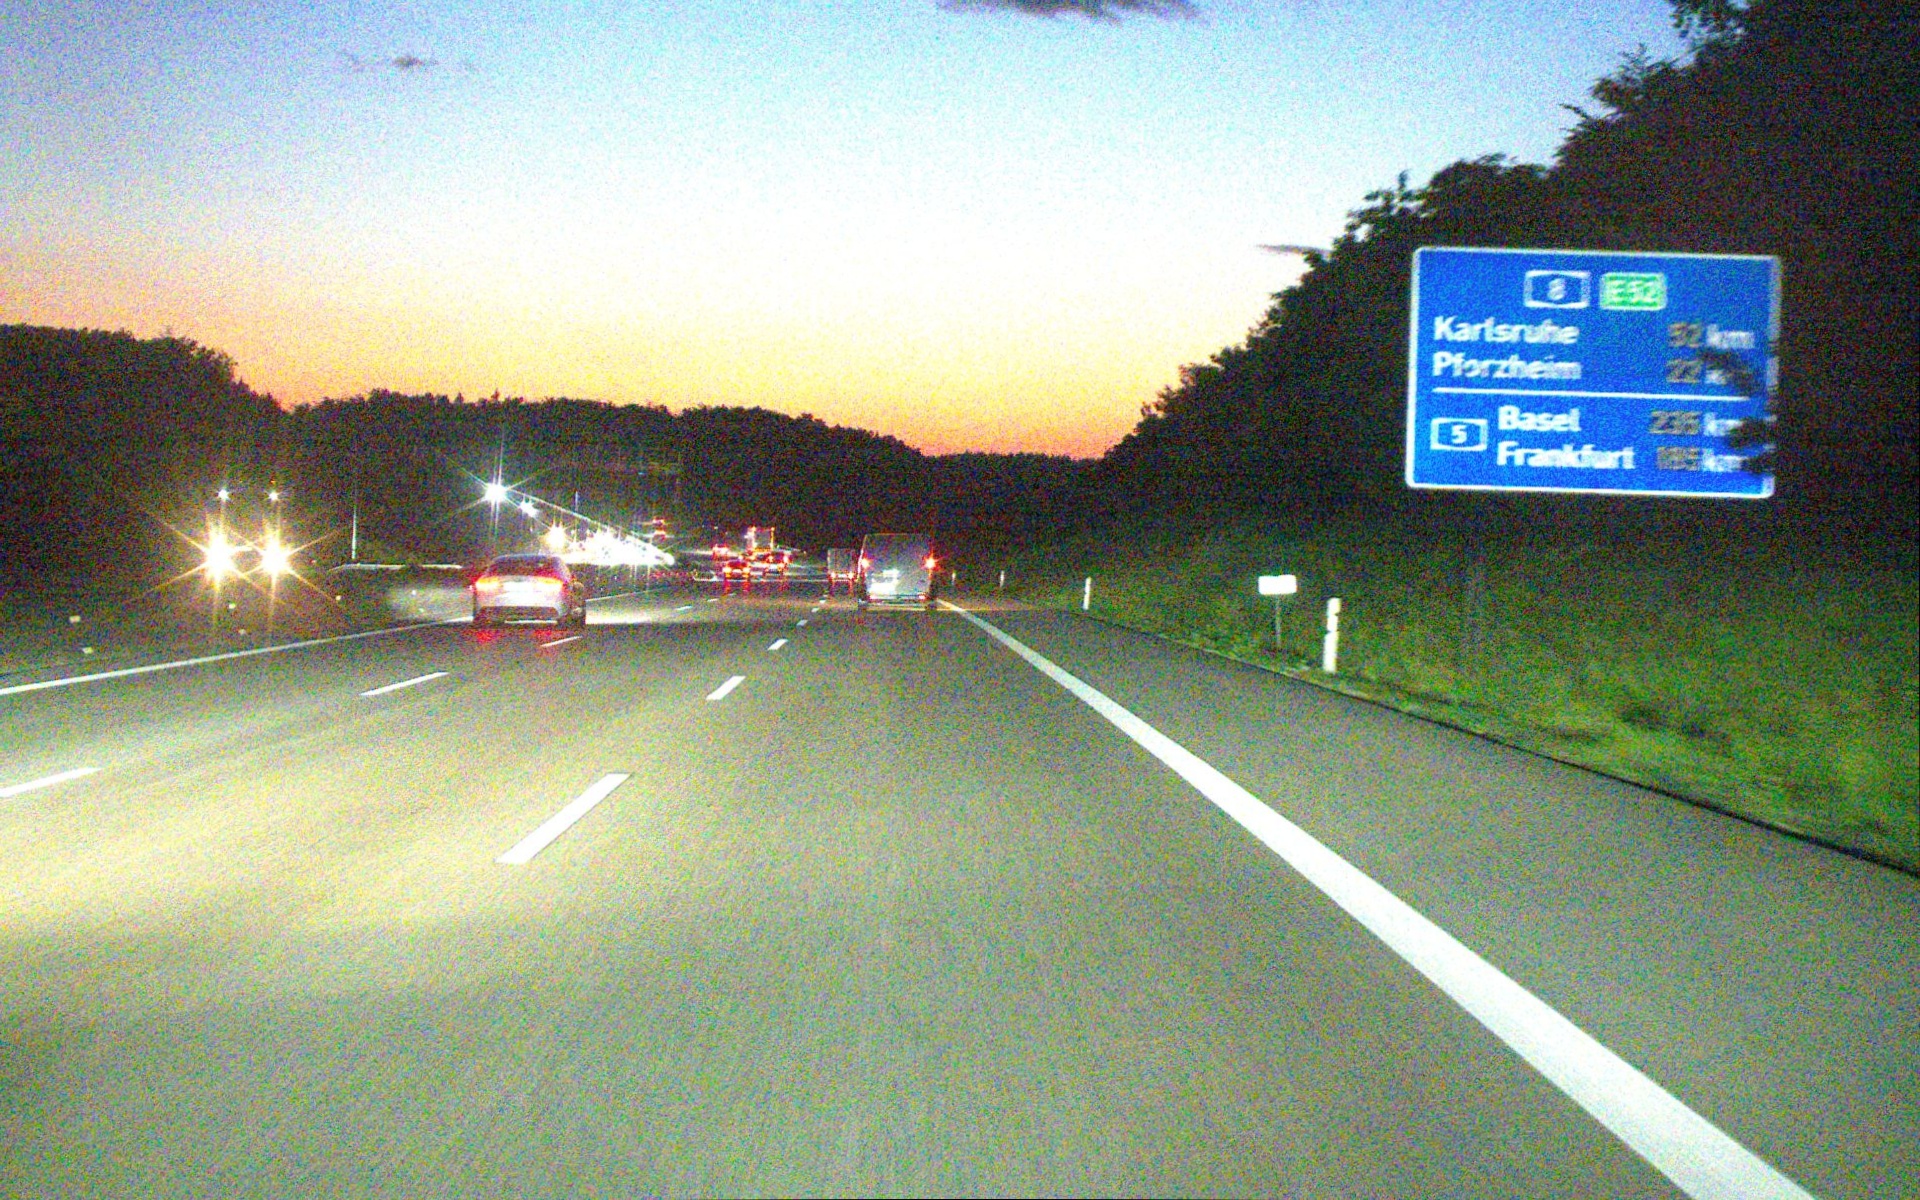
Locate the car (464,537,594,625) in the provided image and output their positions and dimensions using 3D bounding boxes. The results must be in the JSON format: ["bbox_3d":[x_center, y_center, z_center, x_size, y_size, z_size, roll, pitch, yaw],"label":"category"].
[{"bbox_3d":[-8.185,-0.399,65.710,1.779,1.481,5.254,3,1,0],"label":"car"}]

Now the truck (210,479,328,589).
[{"bbox_3d":[-25.174,-2.384,125.605,2.519,3.838,9.065,1,1,-1],"label":"truck"}]

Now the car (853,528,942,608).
[{"bbox_3d":[-1.593,-0.831,86.804,2.196,1.948,4.764,0,2,-2],"label":"car"}]

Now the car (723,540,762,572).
[{"bbox_3d":[-14.482,-2.962,229.001,2.196,1.948,4.634,3,1,0],"label":"car"}]
